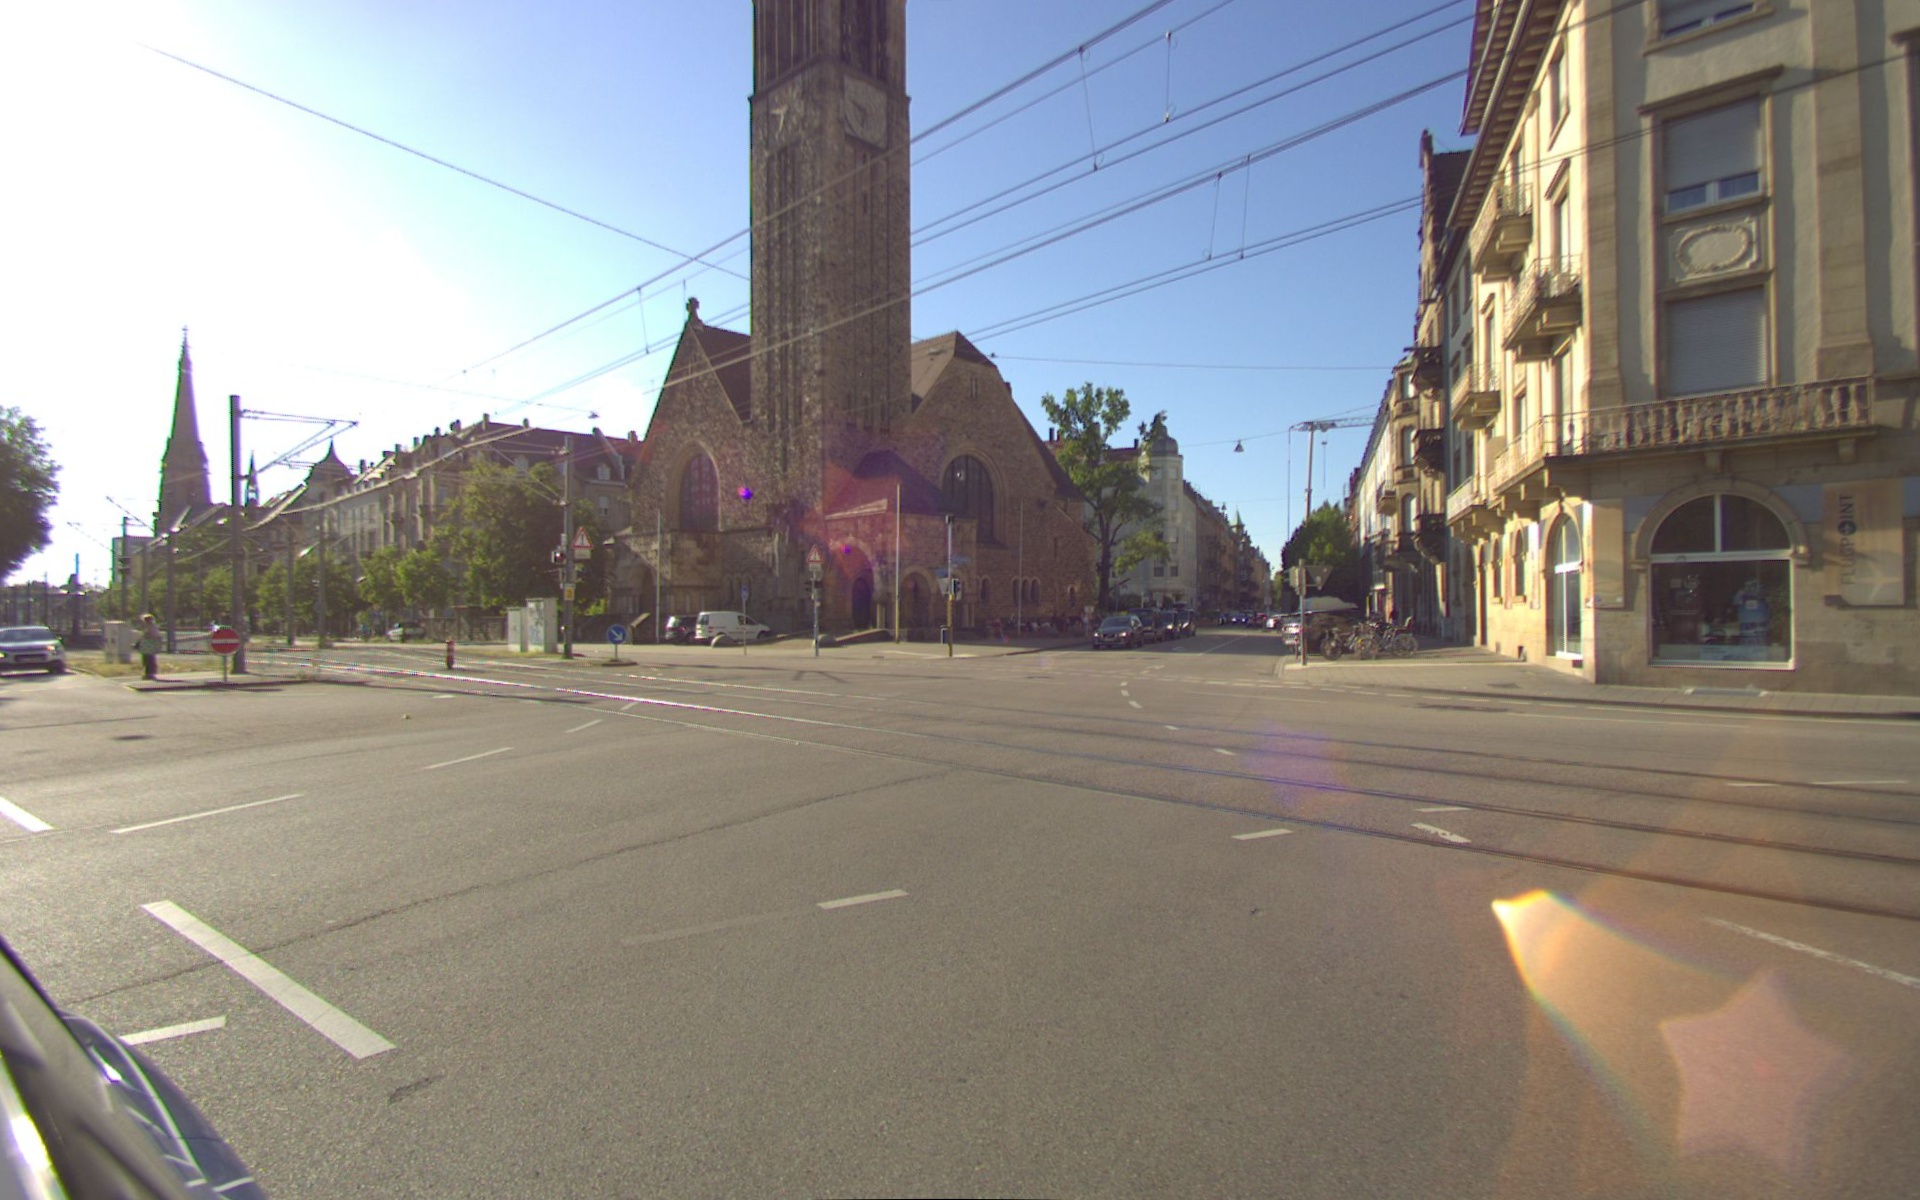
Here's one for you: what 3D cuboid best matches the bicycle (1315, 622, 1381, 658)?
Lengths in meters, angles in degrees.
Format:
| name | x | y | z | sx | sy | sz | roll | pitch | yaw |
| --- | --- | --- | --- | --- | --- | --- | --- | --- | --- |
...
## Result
| name | x | y | z | sx | sy | sz | roll | pitch | yaw |
| --- | --- | --- | --- | --- | --- | --- | --- | --- | --- |
| bicycle | 13.635 | 1.413 | 35.587 | 2.110 | 1.199 | 0.525 | -1 | 1 | 20 |

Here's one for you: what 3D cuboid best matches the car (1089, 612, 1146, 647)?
| name | x | y | z | sx | sy | sz | roll | pitch | yaw |
| --- | --- | --- | --- | --- | --- | --- | --- | --- | --- |
| car | 7.479 | 1.371 | 47.835 | 1.829 | 1.430 | 4.257 | -1 | 1 | 20 |

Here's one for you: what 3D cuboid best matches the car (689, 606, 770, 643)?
| name | x | y | z | sx | sy | sz | roll | pitch | yaw |
| --- | --- | --- | --- | --- | --- | --- | --- | --- | --- |
| car | -12.728 | 1.327 | 56.036 | 1.871 | 1.819 | 3.969 | -1 | 1 | 44 |

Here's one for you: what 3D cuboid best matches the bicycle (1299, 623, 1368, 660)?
| name | x | y | z | sx | sy | sz | roll | pitch | yaw |
| --- | --- | --- | --- | --- | --- | --- | --- | --- | --- |
| bicycle | 12.613 | 1.411 | 34.226 | 2.109 | 1.199 | 0.550 | -1 | 1 | 18 |

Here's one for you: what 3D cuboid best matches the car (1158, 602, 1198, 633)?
| name | x | y | z | sx | sy | sz | roll | pitch | yaw |
| --- | --- | --- | --- | --- | --- | --- | --- | --- | --- |
| car | 14.857 | 1.137 | 68.916 | 1.985 | 1.882 | 4.877 | -1 | 1 | 20 |

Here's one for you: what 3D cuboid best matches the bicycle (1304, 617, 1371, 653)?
| name | x | y | z | sx | sy | sz | roll | pitch | yaw |
| --- | --- | --- | --- | --- | --- | --- | --- | --- | --- |
| bicycle | 13.045 | 1.222 | 34.989 | 2.109 | 1.199 | 0.526 | -1 | 1 | 18 |

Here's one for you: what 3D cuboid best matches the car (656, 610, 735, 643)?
| name | x | y | z | sx | sy | sz | roll | pitch | yaw |
| --- | --- | --- | --- | --- | --- | --- | --- | --- | --- |
| car | -15.091 | 1.464 | 57.796 | 1.769 | 1.642 | 3.985 | -1 | 1 | 44 |

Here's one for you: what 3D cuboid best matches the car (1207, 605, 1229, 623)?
| name | x | y | z | sx | sy | sz | roll | pitch | yaw |
| --- | --- | --- | --- | --- | --- | --- | --- | --- | --- |
| car | 30.171 | 1.647 | 118.188 | 1.985 | 1.882 | 4.877 | -1 | 1 | 20 |

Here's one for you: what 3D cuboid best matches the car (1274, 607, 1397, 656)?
| name | x | y | z | sx | sy | sz | roll | pitch | yaw |
| --- | --- | --- | --- | --- | --- | --- | --- | --- | --- |
| car | 14.277 | 1.216 | 38.562 | 3.931 | 1.597 | 2.006 | -2 | -3 | -20 |

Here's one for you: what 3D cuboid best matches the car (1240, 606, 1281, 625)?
| name | x | y | z | sx | sy | sz | roll | pitch | yaw |
| --- | --- | --- | --- | --- | --- | --- | --- | --- | --- |
| car | 34.049 | 1.779 | 114.747 | 3.935 | 1.918 | 1.790 | -3 | -3 | -11 |

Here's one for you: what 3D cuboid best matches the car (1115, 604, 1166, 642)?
| name | x | y | z | sx | sy | sz | roll | pitch | yaw |
| --- | --- | --- | --- | --- | --- | --- | --- | --- | --- |
| car | 10.007 | 1.243 | 55.757 | 1.985 | 1.882 | 4.459 | -1 | 1 | 20 |

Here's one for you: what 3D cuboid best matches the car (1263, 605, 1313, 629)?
| name | x | y | z | sx | sy | sz | roll | pitch | yaw |
| --- | --- | --- | --- | --- | --- | --- | --- | --- | --- |
| car | 31.082 | 1.617 | 95.956 | 3.935 | 1.918 | 1.790 | -3 | -3 | -11 |

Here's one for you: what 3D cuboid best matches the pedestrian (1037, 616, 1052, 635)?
| name | x | y | z | sx | sy | sz | roll | pitch | yaw |
| --- | --- | --- | --- | --- | --- | --- | --- | --- | --- |
| pedestrian | 5.598 | 1.684 | 66.885 | 0.641 | 1.136 | 0.702 | -4 | 2 | -29 |

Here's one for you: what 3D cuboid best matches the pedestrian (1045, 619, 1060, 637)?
| name | x | y | z | sx | sy | sz | roll | pitch | yaw |
| --- | --- | --- | --- | --- | --- | --- | --- | --- | --- |
| pedestrian | 6.163 | 1.866 | 67.352 | 0.641 | 1.136 | 0.702 | -4 | 3 | -36 |

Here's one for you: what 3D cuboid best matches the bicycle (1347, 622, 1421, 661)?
| name | x | y | z | sx | sy | sz | roll | pitch | yaw |
| --- | --- | --- | --- | --- | --- | --- | --- | --- | --- |
| bicycle | 13.528 | 1.326 | 32.311 | 2.109 | 1.199 | 0.526 | -1 | 1 | 18 |

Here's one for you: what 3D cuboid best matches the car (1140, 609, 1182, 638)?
| name | x | y | z | sx | sy | sz | roll | pitch | yaw |
| --- | --- | --- | --- | --- | --- | --- | --- | --- | --- |
| car | 12.241 | 1.420 | 61.319 | 1.829 | 1.514 | 4.312 | -1 | 1 | 20 |

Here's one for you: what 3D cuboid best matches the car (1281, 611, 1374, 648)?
| name | x | y | z | sx | sy | sz | roll | pitch | yaw |
| --- | --- | --- | --- | --- | --- | --- | --- | --- | --- |
| car | 18.147 | 1.454 | 49.962 | 3.931 | 1.532 | 1.854 | -2 | -3 | -20 |

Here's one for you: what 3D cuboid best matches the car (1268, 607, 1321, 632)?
| name | x | y | z | sx | sy | sz | roll | pitch | yaw |
| --- | --- | --- | --- | --- | --- | --- | --- | --- | --- |
| car | 29.986 | 1.745 | 90.762 | 3.935 | 1.918 | 1.790 | -3 | -3 | -11 |

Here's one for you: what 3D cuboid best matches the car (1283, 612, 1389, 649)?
| name | x | y | z | sx | sy | sz | roll | pitch | yaw |
| --- | --- | --- | --- | --- | --- | --- | --- | --- | --- |
| car | 16.524 | 1.353 | 44.518 | 3.931 | 1.366 | 2.006 | -2 | -3 | -20 |

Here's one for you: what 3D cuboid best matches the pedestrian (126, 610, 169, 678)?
| name | x | y | z | sx | sy | sz | roll | pitch | yaw |
| --- | --- | --- | --- | --- | --- | --- | --- | --- | --- |
| pedestrian | -20.316 | 1.087 | 25.305 | 0.925 | 1.633 | 0.670 | -1 | 1 | 42 |

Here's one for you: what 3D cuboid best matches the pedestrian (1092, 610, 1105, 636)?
| name | x | y | z | sx | sy | sz | roll | pitch | yaw |
| --- | --- | --- | --- | --- | --- | --- | --- | --- | --- |
| pedestrian | 8.812 | 1.437 | 64.294 | 0.651 | 1.633 | 0.462 | -1 | 1 | 35 |

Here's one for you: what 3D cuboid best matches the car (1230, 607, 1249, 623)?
| name | x | y | z | sx | sy | sz | roll | pitch | yaw |
| --- | --- | --- | --- | --- | --- | --- | --- | --- | --- |
| car | 36.831 | 1.970 | 133.359 | 1.985 | 1.882 | 4.877 | -1 | 1 | 20 |

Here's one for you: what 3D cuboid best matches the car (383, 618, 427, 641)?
| name | x | y | z | sx | sy | sz | roll | pitch | yaw |
| --- | --- | --- | --- | --- | --- | --- | --- | --- | --- |
| car | -41.890 | 2.203 | 76.298 | 1.762 | 1.541 | 4.216 | -3 | 1 | -45 |

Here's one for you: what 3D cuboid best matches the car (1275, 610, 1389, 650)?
| name | x | y | z | sx | sy | sz | roll | pitch | yaw |
| --- | --- | --- | --- | --- | --- | --- | --- | --- | --- |
| car | 15.277 | 1.224 | 41.557 | 3.931 | 1.366 | 2.006 | -2 | -3 | -20 |

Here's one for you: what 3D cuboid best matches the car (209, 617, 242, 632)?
| name | x | y | z | sx | sy | sz | roll | pitch | yaw |
| --- | --- | --- | --- | --- | --- | --- | --- | --- | --- |
| car | -73.727 | 2.484 | 101.542 | 1.971 | 1.438 | 4.556 | 2 | -2 | -45 |

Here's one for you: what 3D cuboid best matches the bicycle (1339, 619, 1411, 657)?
| name | x | y | z | sx | sy | sz | roll | pitch | yaw |
| --- | --- | --- | --- | --- | --- | --- | --- | --- | --- |
| bicycle | 13.522 | 1.244 | 33.027 | 2.109 | 1.199 | 0.526 | -1 | 1 | 18 |

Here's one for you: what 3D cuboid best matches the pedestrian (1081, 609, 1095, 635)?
| name | x | y | z | sx | sy | sz | roll | pitch | yaw |
| --- | --- | --- | --- | --- | --- | --- | --- | --- | --- |
| pedestrian | 8.175 | 1.429 | 64.610 | 0.650 | 1.633 | 0.463 | -1 | 2 | 33 |

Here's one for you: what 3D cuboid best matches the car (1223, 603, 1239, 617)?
| name | x | y | z | sx | sy | sz | roll | pitch | yaw |
| --- | --- | --- | --- | --- | --- | --- | --- | --- | --- |
| car | 40.785 | 1.507 | 152.216 | 1.985 | 1.882 | 4.877 | -1 | 1 | 20 |

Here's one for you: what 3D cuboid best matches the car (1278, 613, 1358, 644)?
| name | x | y | z | sx | sy | sz | roll | pitch | yaw |
| --- | --- | --- | --- | --- | --- | --- | --- | --- | --- |
| car | 20.572 | 1.624 | 58.164 | 3.931 | 1.532 | 1.854 | -2 | -3 | -20 |

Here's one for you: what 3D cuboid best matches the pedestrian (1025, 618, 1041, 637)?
| name | x | y | z | sx | sy | sz | roll | pitch | yaw |
| --- | --- | --- | --- | --- | --- | --- | --- | --- | --- |
| pedestrian | 4.785 | 1.810 | 66.567 | 0.753 | 1.136 | 0.786 | -4 | 2 | -20 |

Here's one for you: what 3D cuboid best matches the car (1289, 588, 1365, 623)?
| name | x | y | z | sx | sy | sz | roll | pitch | yaw |
| --- | --- | --- | --- | --- | --- | --- | --- | --- | --- |
| car | 22.979 | 0.366 | 63.431 | 3.935 | 1.918 | 1.790 | -3 | -3 | -11 |

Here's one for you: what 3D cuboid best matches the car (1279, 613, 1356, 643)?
| name | x | y | z | sx | sy | sz | roll | pitch | yaw |
| --- | --- | --- | --- | --- | --- | --- | --- | --- | --- |
| car | 21.429 | 1.690 | 60.734 | 3.932 | 1.532 | 1.853 | -3 | -3 | -16 |

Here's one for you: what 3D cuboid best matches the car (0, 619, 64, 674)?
| name | x | y | z | sx | sy | sz | roll | pitch | yaw |
| --- | --- | --- | --- | --- | --- | --- | --- | --- | --- |
| car | -28.826 | 1.382 | 31.077 | 4.001 | 1.511 | 1.614 | -1 | 1 | 44 |
